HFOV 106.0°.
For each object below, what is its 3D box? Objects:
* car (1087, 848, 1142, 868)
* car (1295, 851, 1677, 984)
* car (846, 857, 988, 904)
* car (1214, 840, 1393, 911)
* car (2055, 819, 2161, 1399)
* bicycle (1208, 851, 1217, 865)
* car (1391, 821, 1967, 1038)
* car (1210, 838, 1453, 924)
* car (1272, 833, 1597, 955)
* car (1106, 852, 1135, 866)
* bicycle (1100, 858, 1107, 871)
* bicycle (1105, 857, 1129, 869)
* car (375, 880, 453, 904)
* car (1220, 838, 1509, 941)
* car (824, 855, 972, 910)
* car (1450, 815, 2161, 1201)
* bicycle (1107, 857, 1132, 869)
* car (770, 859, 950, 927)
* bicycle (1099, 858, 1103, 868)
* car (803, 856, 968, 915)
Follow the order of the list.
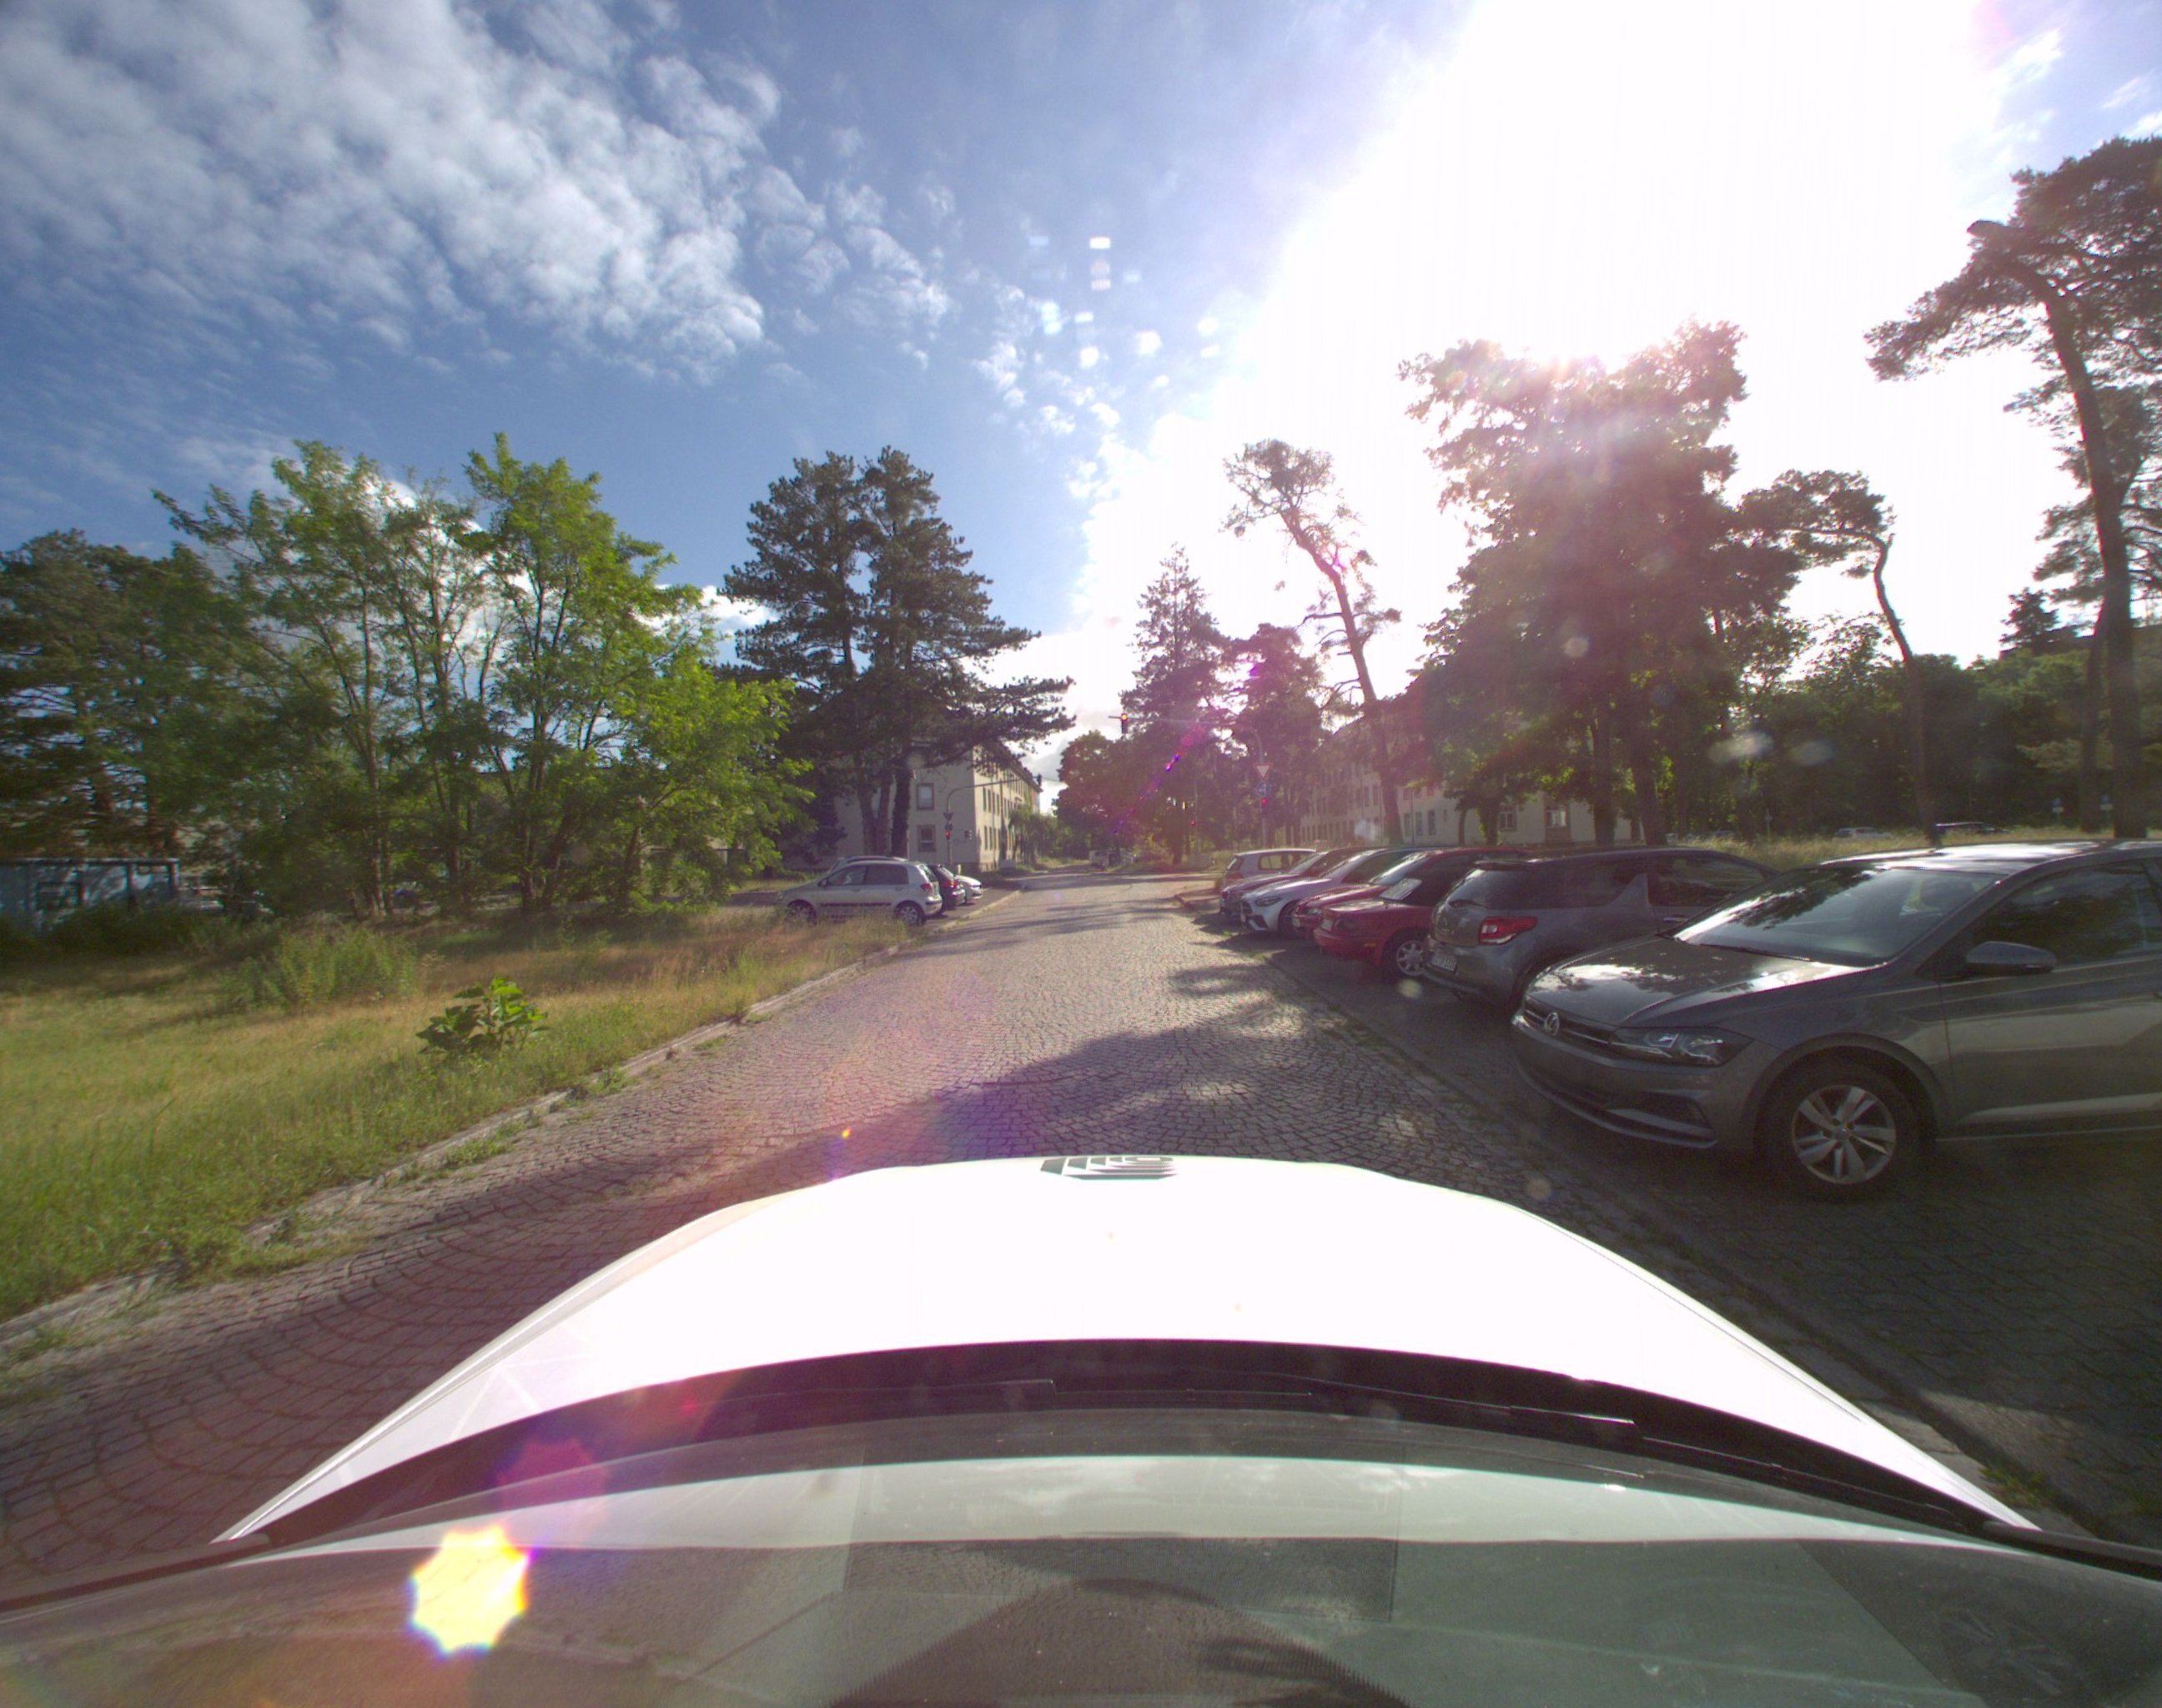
[{"bbox_3d":[3.569,0.438,86.779,5.534,2.014,1.989,0,-1,-17],"label":"car"},{"bbox_3d":[4.658,0.693,9.802,3.693,1.223,1.747,-4,0,2],"label":"car"},{"bbox_3d":[-5.361,0.857,27.038,4.321,1.468,1.829,0,0,-2],"label":"car"},{"bbox_3d":[5.312,0.495,19.772,3.867,1.415,1.637,-4,0,2],"label":"car"},{"bbox_3d":[4.643,0.579,1.406,3.693,1.534,1.762,-4,0,2],"label":"car"},{"bbox_3d":[9.102,0.291,56.489,0.300,0.961,1.585,0,-1,-2],"label":"bicycle"},{"bbox_3d":[4.948,0.580,7.193,3.693,1.449,1.817,-4,0,1],"label":"car"},{"bbox_3d":[5.096,0.533,16.995,4.542,1.415,1.637,-4,0,2],"label":"car"},{"bbox_3d":[5.117,0.551,12.192,4.111,1.449,1.637,-4,0,2],"label":"car"},{"bbox_3d":[4.022,0.534,83.183,2.775,1.467,1.669,0,-1,-3],"label":"car"},{"bbox_3d":[1.805,0.813,65.178,0.466,1.010,1.585,0,-1,-2],"label":"bicycle"},{"bbox_3d":[3.138,0.772,70.431,2.002,1.010,0.631,0,-1,-6],"label":"bicycle"},{"bbox_3d":[-45.942,2.603,56.204,1.895,1.433,4.002,-2,-1,2],"label":"car"},{"bbox_3d":[4.802,0.581,14.285,4.415,1.415,1.782,-4,0,2],"label":"car"},{"bbox_3d":[-5.446,0.824,24.643,4.069,1.593,1.884,0,0,-2],"label":"car"},{"bbox_3d":[4.253,0.626,4.338,3.693,1.449,1.857,-4,0,2],"label":"car"},{"bbox_3d":[3.238,0.759,68.852,2.106,1.010,0.619,0,-1,-6],"label":"bicycle"},{"bbox_3d":[-5.064,0.866,19.006,3.736,1.487,1.645,0,0,-2],"label":"car"},{"bbox_3d":[1.911,0.860,78.402,0.415,1.010,1.484,0,-1,2],"label":"bicycle"},{"bbox_3d":[-5.106,0.800,21.673,3.976,1.480,1.802,0,0,-2],"label":"car"}]
